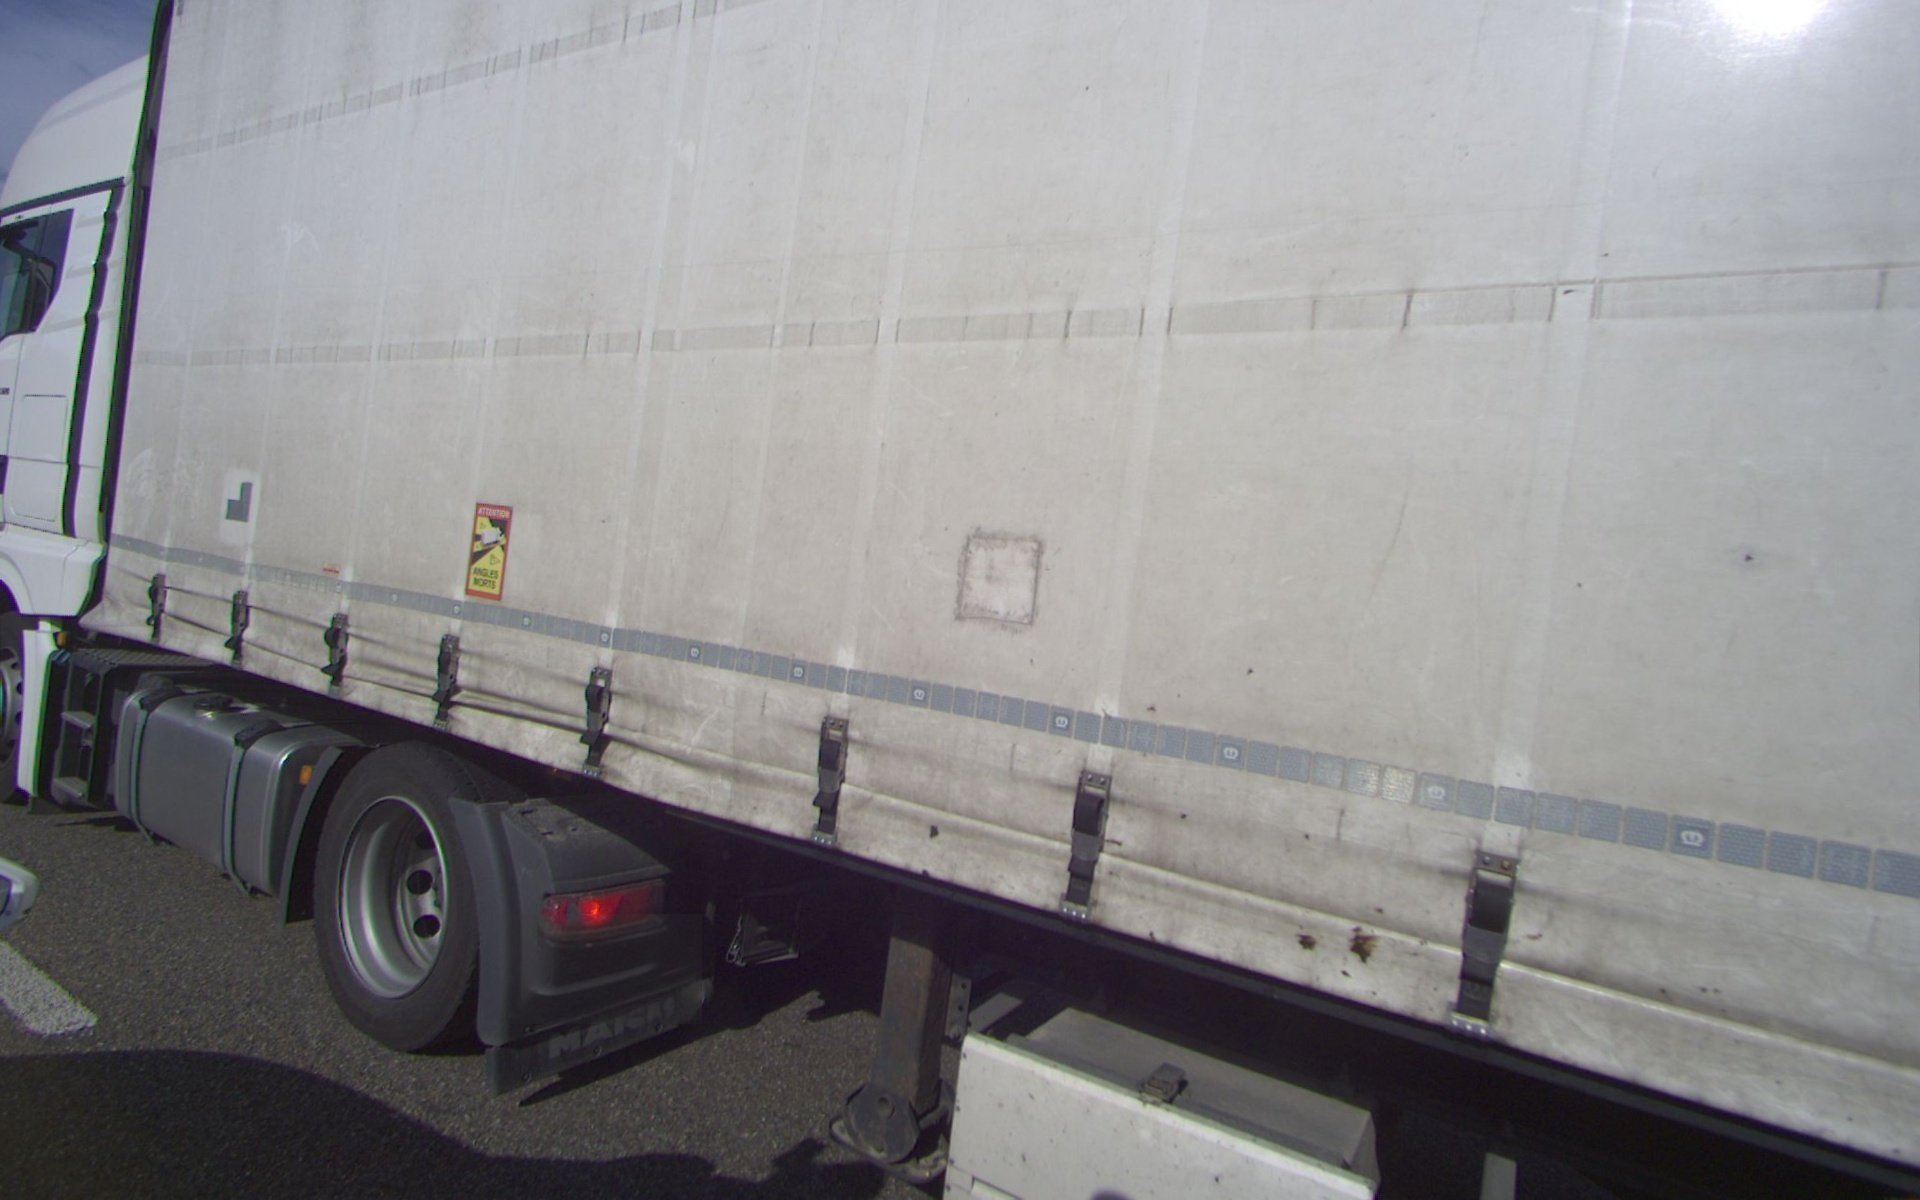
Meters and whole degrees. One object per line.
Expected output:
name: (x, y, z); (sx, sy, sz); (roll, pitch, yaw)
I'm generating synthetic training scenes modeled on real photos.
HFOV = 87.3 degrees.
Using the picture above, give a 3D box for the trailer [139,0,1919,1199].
trailer: (3.322, -0.175, 1.461); (12.729, 4.132, 2.706); (7, 0, 32)

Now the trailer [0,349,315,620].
trailer: (-15.662, -2.094, 17.877); (10.450, 3.642, 2.545); (7, 0, 32)

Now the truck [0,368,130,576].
truck: (-20.163, -2.690, 20.693); (6.664, 3.617, 2.533); (7, 0, 32)

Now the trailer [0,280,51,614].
trailer: (-15.692, -2.287, 13.193); (10.450, 3.697, 2.545); (7, -1, 32)

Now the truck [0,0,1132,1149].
truck: (-2.765, -0.903, 5.231); (6.256, 4.109, 2.712); (7, 0, 32)
